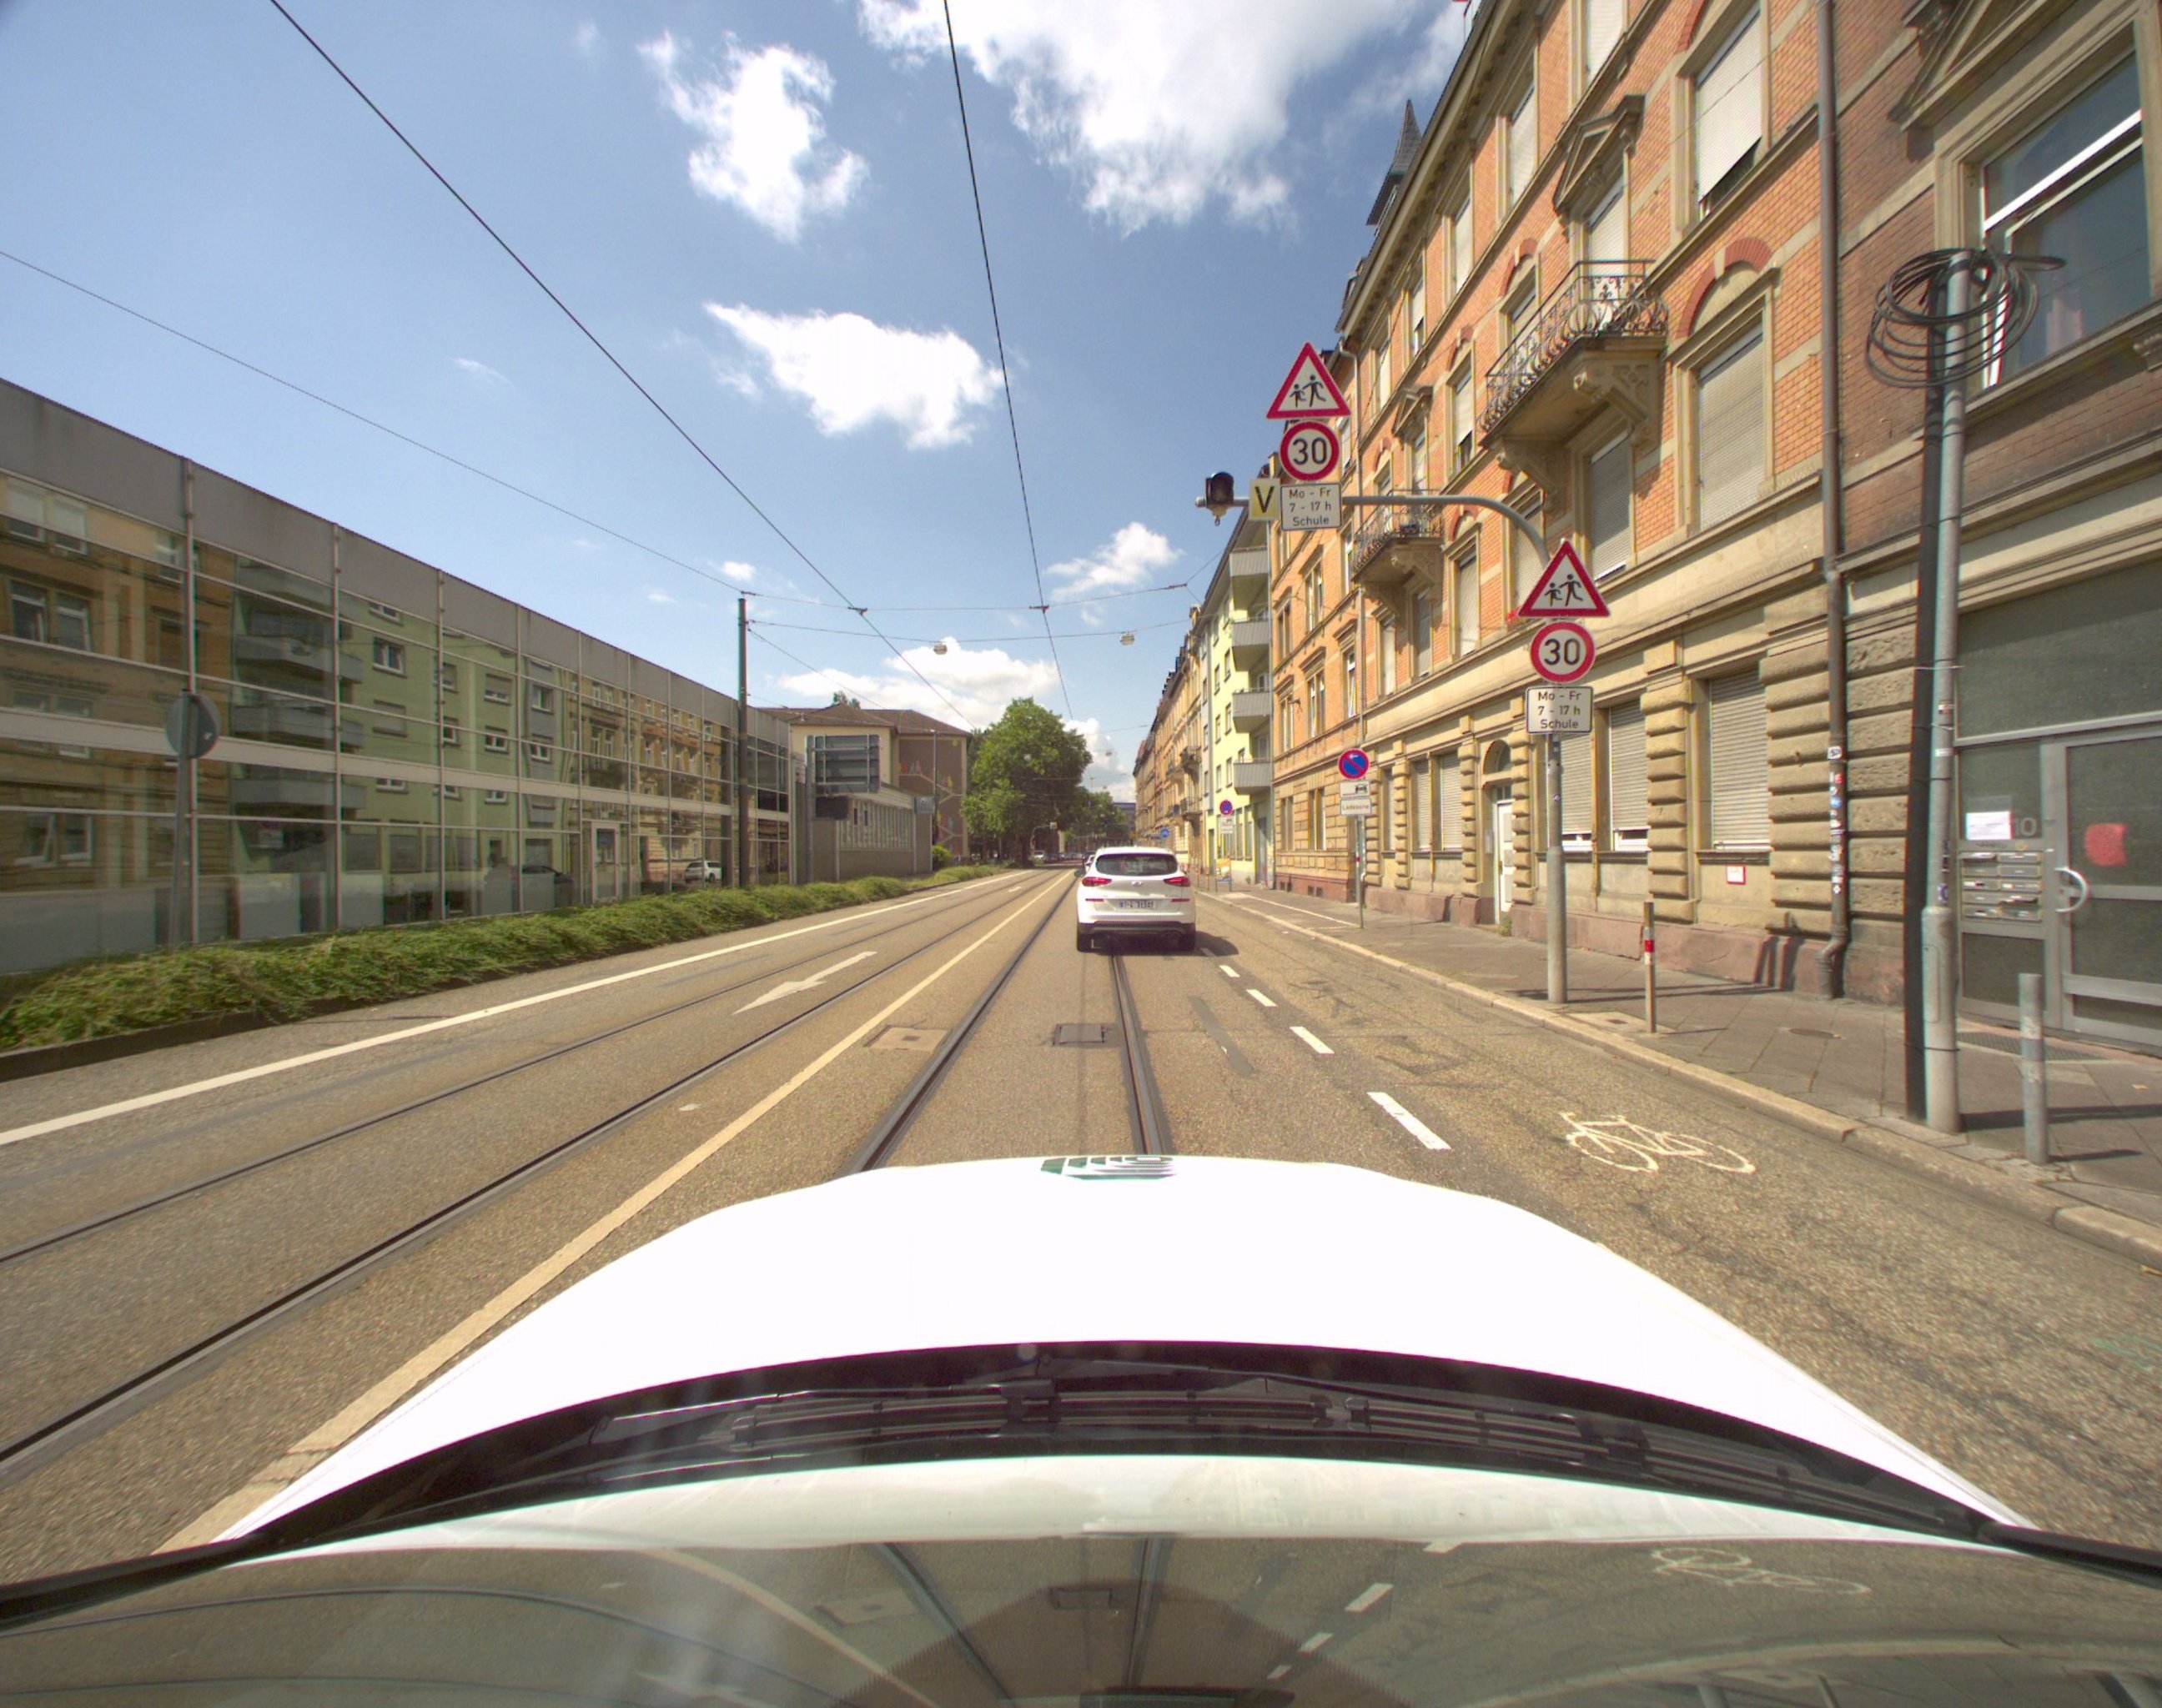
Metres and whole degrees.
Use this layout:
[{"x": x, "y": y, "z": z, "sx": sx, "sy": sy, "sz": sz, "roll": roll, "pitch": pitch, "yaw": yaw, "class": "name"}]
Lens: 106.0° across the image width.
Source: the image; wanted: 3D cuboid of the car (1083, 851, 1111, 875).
[{"x": 1.083, "y": 0.582, "z": 55.867, "sx": 1.808, "sy": 1.524, "sz": 3.956, "roll": -2, "pitch": 0, "yaw": 1, "class": "car"}]

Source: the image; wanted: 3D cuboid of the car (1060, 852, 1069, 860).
[{"x": -3.773, "y": 0.481, "z": 183.830, "sx": 1.944, "sy": 1.632, "sz": 3.998, "roll": 0, "pitch": 0, "yaw": -1, "class": "car"}]

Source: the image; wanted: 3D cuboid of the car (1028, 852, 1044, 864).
[{"x": -6.272, "y": 0.484, "z": 113.691, "sx": 1.943, "sy": 1.632, "sz": 4.576, "roll": 0, "pitch": 0, "yaw": 1, "class": "car"}]

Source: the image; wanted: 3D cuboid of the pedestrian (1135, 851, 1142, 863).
[{"x": 7.601, "y": 0.415, "z": 107.825, "sx": 0.934, "sy": 1.572, "sz": 1.050, "roll": 0, "pitch": 0, "yaw": 1, "class": "pedestrian"}]

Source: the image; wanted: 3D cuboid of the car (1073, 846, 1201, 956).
[{"x": 0.808, "y": 0.693, "z": 14.132, "sx": 1.847, "sy": 1.634, "sz": 4.178, "roll": 0, "pitch": 0, "yaw": -1, "class": "car"}]

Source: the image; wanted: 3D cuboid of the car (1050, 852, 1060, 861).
[{"x": -4.868, "y": 0.404, "z": 152.580, "sx": 1.944, "sy": 1.632, "sz": 3.998, "roll": 0, "pitch": 0, "yaw": -1, "class": "car"}]

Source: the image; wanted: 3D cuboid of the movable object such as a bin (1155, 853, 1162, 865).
[{"x": 7.947, "y": 0.517, "z": 83.648, "sx": 0.610, "sy": 1.143, "sz": 0.639, "roll": 0, "pitch": 0, "yaw": 1, "class": "movable object such as a bin"}]

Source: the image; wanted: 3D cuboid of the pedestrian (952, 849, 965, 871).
[{"x": -10.528, "y": 0.512, "z": 70.050, "sx": 0.877, "sy": 1.865, "sz": 1.081, "roll": -2, "pitch": 0, "yaw": 1, "class": "pedestrian"}]

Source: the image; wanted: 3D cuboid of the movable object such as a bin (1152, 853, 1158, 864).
[{"x": 7.712, "y": 0.429, "z": 85.081, "sx": 0.610, "sy": 1.143, "sz": 0.639, "roll": 0, "pitch": 0, "yaw": 1, "class": "movable object such as a bin"}]

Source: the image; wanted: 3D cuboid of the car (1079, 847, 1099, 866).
[{"x": 0.744, "y": 0.217, "z": 75.617, "sx": 1.808, "sy": 1.661, "sz": 4.086, "roll": -1, "pitch": 0, "yaw": 1, "class": "car"}]

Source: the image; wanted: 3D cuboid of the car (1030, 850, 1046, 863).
[{"x": -6.282, "y": 0.299, "z": 119.648, "sx": 1.943, "sy": 1.895, "sz": 4.566, "roll": 0, "pitch": 0, "yaw": 1, "class": "car"}]

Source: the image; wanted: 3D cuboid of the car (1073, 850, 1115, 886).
[{"x": 0.659, "y": 0.619, "z": 38.037, "sx": 1.807, "sy": 1.524, "sz": 4.087, "roll": -2, "pitch": 0, "yaw": 2, "class": "car"}]
